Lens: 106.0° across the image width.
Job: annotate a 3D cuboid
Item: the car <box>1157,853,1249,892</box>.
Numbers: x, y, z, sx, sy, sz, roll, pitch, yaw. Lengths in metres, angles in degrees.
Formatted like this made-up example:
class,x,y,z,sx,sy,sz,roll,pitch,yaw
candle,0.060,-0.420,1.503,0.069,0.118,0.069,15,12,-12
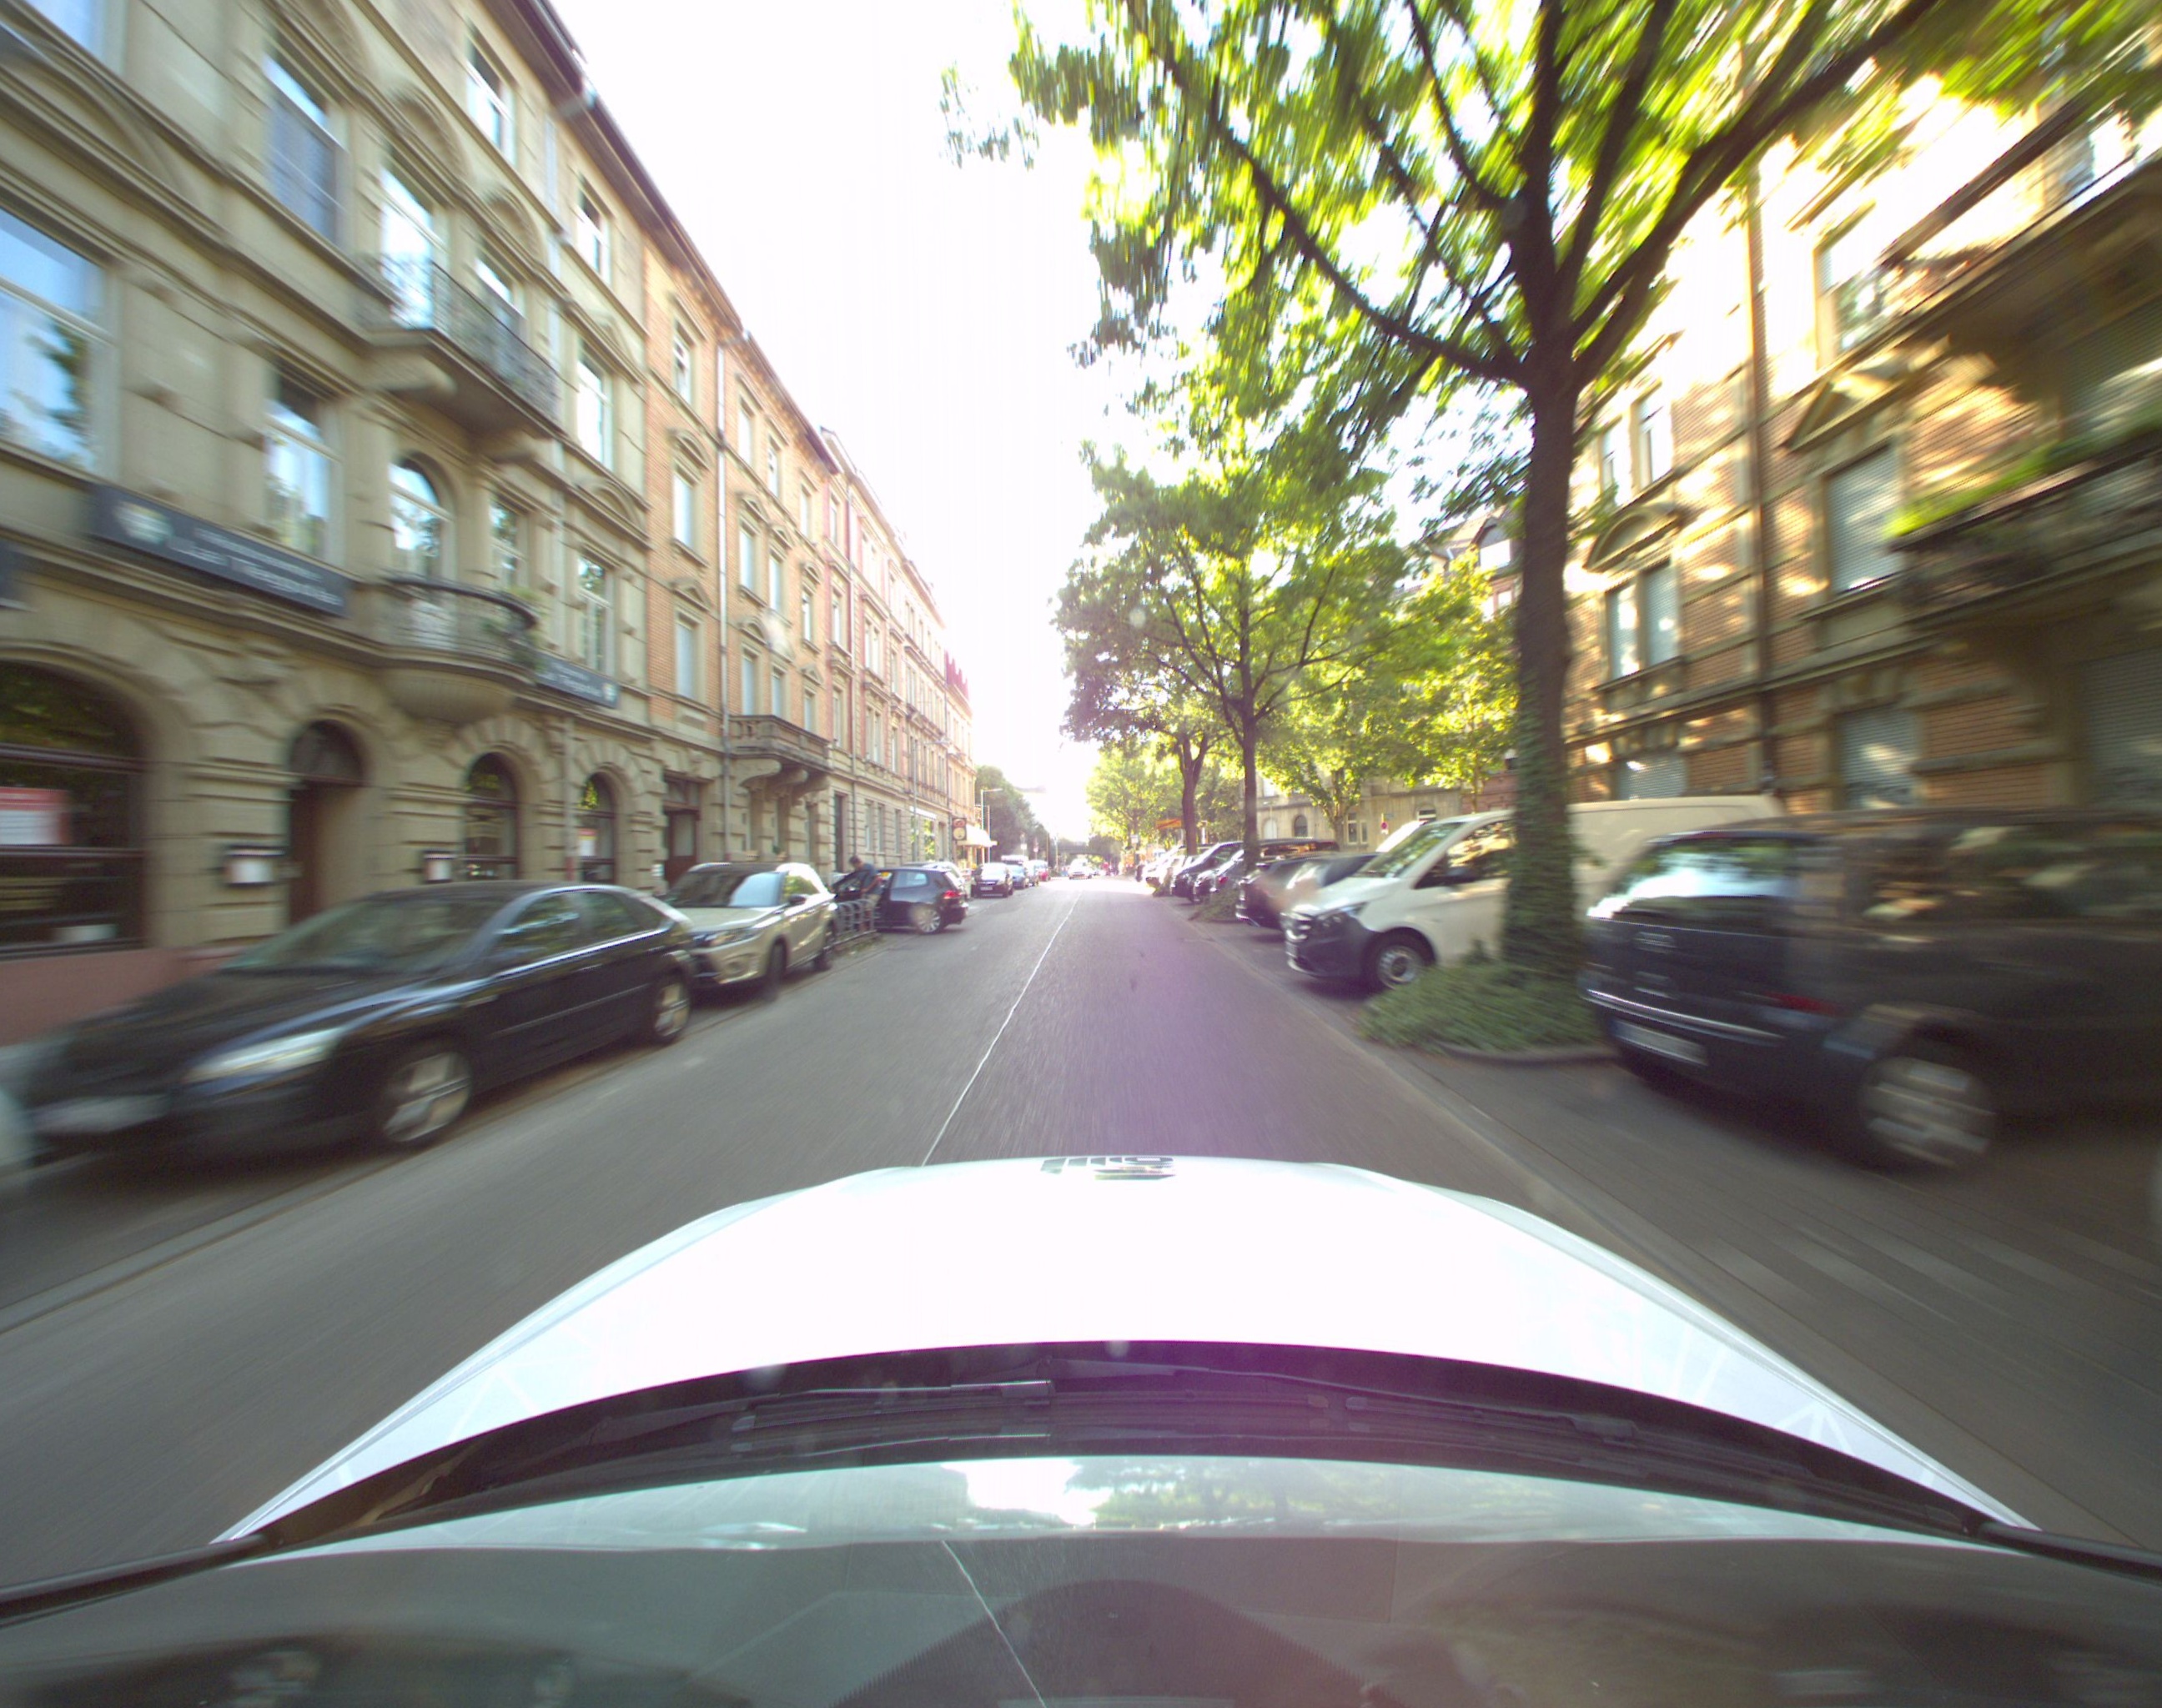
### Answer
class,x,y,z,sx,sy,sz,roll,pitch,yaw
car,5.425,0.814,36.540,3.827,1.595,1.741,-2,-1,1

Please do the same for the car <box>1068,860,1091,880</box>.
class,x,y,z,sx,sy,sz,roll,pitch,yaw
car,-0.077,1.252,65.688,1.743,1.509,4.001,-2,0,1

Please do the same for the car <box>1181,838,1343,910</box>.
class,x,y,z,sx,sy,sz,roll,pitch,yaw
car,5.248,0.566,23.959,4.258,1.885,1.937,-2,0,-3

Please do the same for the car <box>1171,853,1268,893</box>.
class,x,y,z,sx,sy,sz,roll,pitch,yaw
car,5.838,0.791,34.644,3.827,1.515,1.848,-2,-1,1

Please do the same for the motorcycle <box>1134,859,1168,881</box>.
class,x,y,z,sx,sy,sz,roll,pitch,yaw
motorcycle,4.527,1.001,52.751,2.017,1.285,0.903,-4,-1,-1

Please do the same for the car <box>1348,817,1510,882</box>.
class,x,y,z,sx,sy,sz,roll,pitch,yaw
car,14.695,-0.193,34.588,5.885,2.537,2.376,-1,-1,-5

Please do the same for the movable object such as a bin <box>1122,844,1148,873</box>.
class,x,y,z,sx,sy,sz,roll,pitch,yaw
movable object such as a bin,5.314,0.463,79.653,1.979,2.699,3.122,-2,-1,14

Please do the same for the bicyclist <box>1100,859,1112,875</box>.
class,x,y,z,sx,sy,sz,roll,pitch,yaw
bicyclist,2.217,1.155,72.380,0.805,1.383,0.980,0,-1,-16

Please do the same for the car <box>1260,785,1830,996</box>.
class,x,y,z,sx,sy,sz,roll,pitch,yaw
car,4.798,0.429,9.143,5.073,1.940,2.158,-2,-4,1

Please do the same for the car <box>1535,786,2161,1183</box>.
class,x,y,z,sx,sy,sz,roll,pitch,yaw
car,4.914,0.524,4.489,3.876,1.649,1.722,-2,0,-4

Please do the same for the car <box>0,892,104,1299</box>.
class,x,y,z,sx,sy,sz,roll,pitch,yaw
car,-4.796,0.909,1.300,1.576,1.473,4.000,-2,0,1

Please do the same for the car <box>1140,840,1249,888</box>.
class,x,y,z,sx,sy,sz,roll,pitch,yaw
car,5.396,0.491,39.348,4.956,2.096,2.106,-2,-1,1

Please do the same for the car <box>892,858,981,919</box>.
class,x,y,z,sx,sy,sz,roll,pitch,yaw
car,-4.115,0.935,23.754,1.735,1.567,3.896,-2,0,2

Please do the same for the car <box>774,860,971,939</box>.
class,x,y,z,sx,sy,sz,roll,pitch,yaw
car,-4.558,0.964,18.354,3.980,1.529,1.823,-2,0,-5

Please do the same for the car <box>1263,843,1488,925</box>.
class,x,y,z,sx,sy,sz,roll,pitch,yaw
car,6.083,0.607,17.171,4.066,1.497,1.844,-2,0,1

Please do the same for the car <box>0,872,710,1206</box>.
class,x,y,z,sx,sy,sz,roll,pitch,yaw
car,-4.444,0.916,5.841,1.642,1.473,4.000,1,0,1

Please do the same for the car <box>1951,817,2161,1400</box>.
class,x,y,z,sx,sy,sz,roll,pitch,yaw
car,4.775,0.589,1.577,4.087,1.503,1.813,-2,0,3

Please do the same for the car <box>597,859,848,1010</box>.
class,x,y,z,sx,sy,sz,roll,pitch,yaw
car,-4.395,0.880,10.724,1.644,1.574,4.045,1,0,-3

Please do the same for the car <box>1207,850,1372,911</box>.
class,x,y,z,sx,sy,sz,roll,pitch,yaw
car,5.406,0.679,21.594,3.967,1.448,1.893,-2,0,5

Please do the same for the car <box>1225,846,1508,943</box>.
class,x,y,z,sx,sy,sz,roll,pitch,yaw
car,4.918,0.674,14.519,4.353,1.455,1.934,-2,0,1

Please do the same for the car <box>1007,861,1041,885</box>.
class,x,y,z,sx,sy,sz,roll,pitch,yaw
car,-3.598,1.174,51.780,1.719,1.437,3.997,0,0,2

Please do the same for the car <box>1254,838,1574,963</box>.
class,x,y,z,sx,sy,sz,roll,pitch,yaw
car,4.793,0.630,12.038,3.983,1.474,1.778,-3,0,-7

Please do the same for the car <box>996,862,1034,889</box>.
class,x,y,z,sx,sy,sz,roll,pitch,yaw
car,-3.735,1.208,46.562,1.759,1.437,4.300,-1,0,0

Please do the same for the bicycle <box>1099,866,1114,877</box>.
class,x,y,z,sx,sy,sz,roll,pitch,yaw
bicycle,2.250,1.535,72.302,0.804,0.968,2.097,0,-1,-15

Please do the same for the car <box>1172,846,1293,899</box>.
class,x,y,z,sx,sy,sz,roll,pitch,yaw
car,5.368,0.648,29.264,3.975,1.692,1.800,-2,0,-1

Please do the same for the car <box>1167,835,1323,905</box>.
class,x,y,z,sx,sy,sz,roll,pitch,yaw
car,5.234,0.499,26.435,4.602,2.014,1.999,-2,0,-2

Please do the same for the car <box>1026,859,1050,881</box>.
class,x,y,z,sx,sy,sz,roll,pitch,yaw
car,-3.280,1.200,62.112,1.664,1.530,3.998,-1,-1,-1

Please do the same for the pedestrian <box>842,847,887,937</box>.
class,x,y,z,sx,sy,sz,roll,pitch,yaw
pedestrian,-4.615,0.800,17.385,0.584,1.888,0.644,-2,-1,31

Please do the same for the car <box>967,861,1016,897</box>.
class,x,y,z,sx,sy,sz,roll,pitch,yaw
car,-3.954,1.067,36.389,1.698,1.454,4.019,-2,0,0
